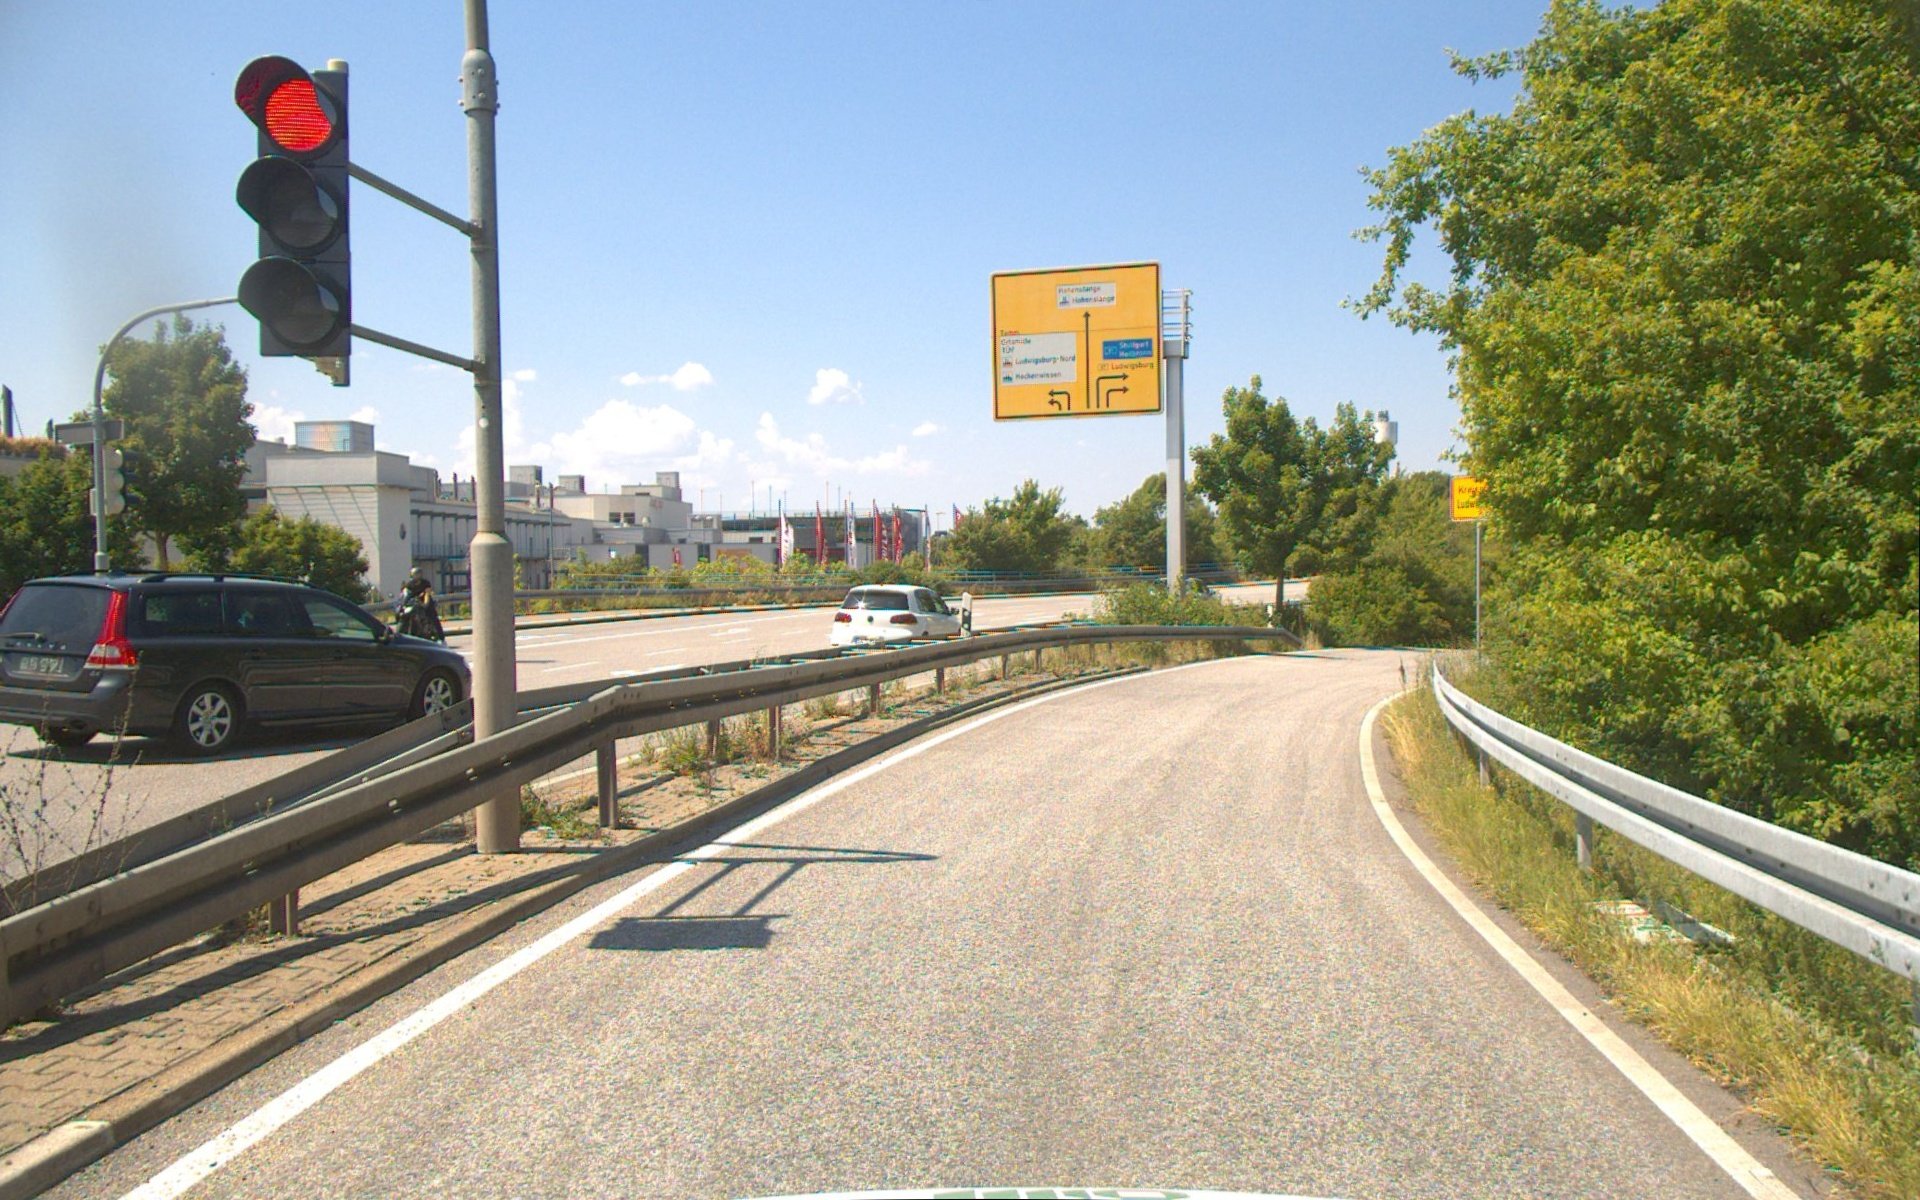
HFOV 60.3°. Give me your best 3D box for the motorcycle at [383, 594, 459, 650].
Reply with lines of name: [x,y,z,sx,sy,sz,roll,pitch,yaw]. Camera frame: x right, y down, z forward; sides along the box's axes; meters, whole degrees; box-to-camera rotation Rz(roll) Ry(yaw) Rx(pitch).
motorcycle: [-11.089,0.428,34.077,0.550,1.099,2.286,-1,0,7]

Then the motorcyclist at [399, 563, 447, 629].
motorcyclist: [-11.091,-0.080,34.196,0.660,1.325,0.724,-2,0,7]

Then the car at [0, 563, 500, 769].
car: [-6.437,0.500,15.143,1.696,1.572,4.732,0,0,23]

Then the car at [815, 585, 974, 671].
car: [-1.160,0.488,31.420,1.951,1.512,4.138,1,0,14]
